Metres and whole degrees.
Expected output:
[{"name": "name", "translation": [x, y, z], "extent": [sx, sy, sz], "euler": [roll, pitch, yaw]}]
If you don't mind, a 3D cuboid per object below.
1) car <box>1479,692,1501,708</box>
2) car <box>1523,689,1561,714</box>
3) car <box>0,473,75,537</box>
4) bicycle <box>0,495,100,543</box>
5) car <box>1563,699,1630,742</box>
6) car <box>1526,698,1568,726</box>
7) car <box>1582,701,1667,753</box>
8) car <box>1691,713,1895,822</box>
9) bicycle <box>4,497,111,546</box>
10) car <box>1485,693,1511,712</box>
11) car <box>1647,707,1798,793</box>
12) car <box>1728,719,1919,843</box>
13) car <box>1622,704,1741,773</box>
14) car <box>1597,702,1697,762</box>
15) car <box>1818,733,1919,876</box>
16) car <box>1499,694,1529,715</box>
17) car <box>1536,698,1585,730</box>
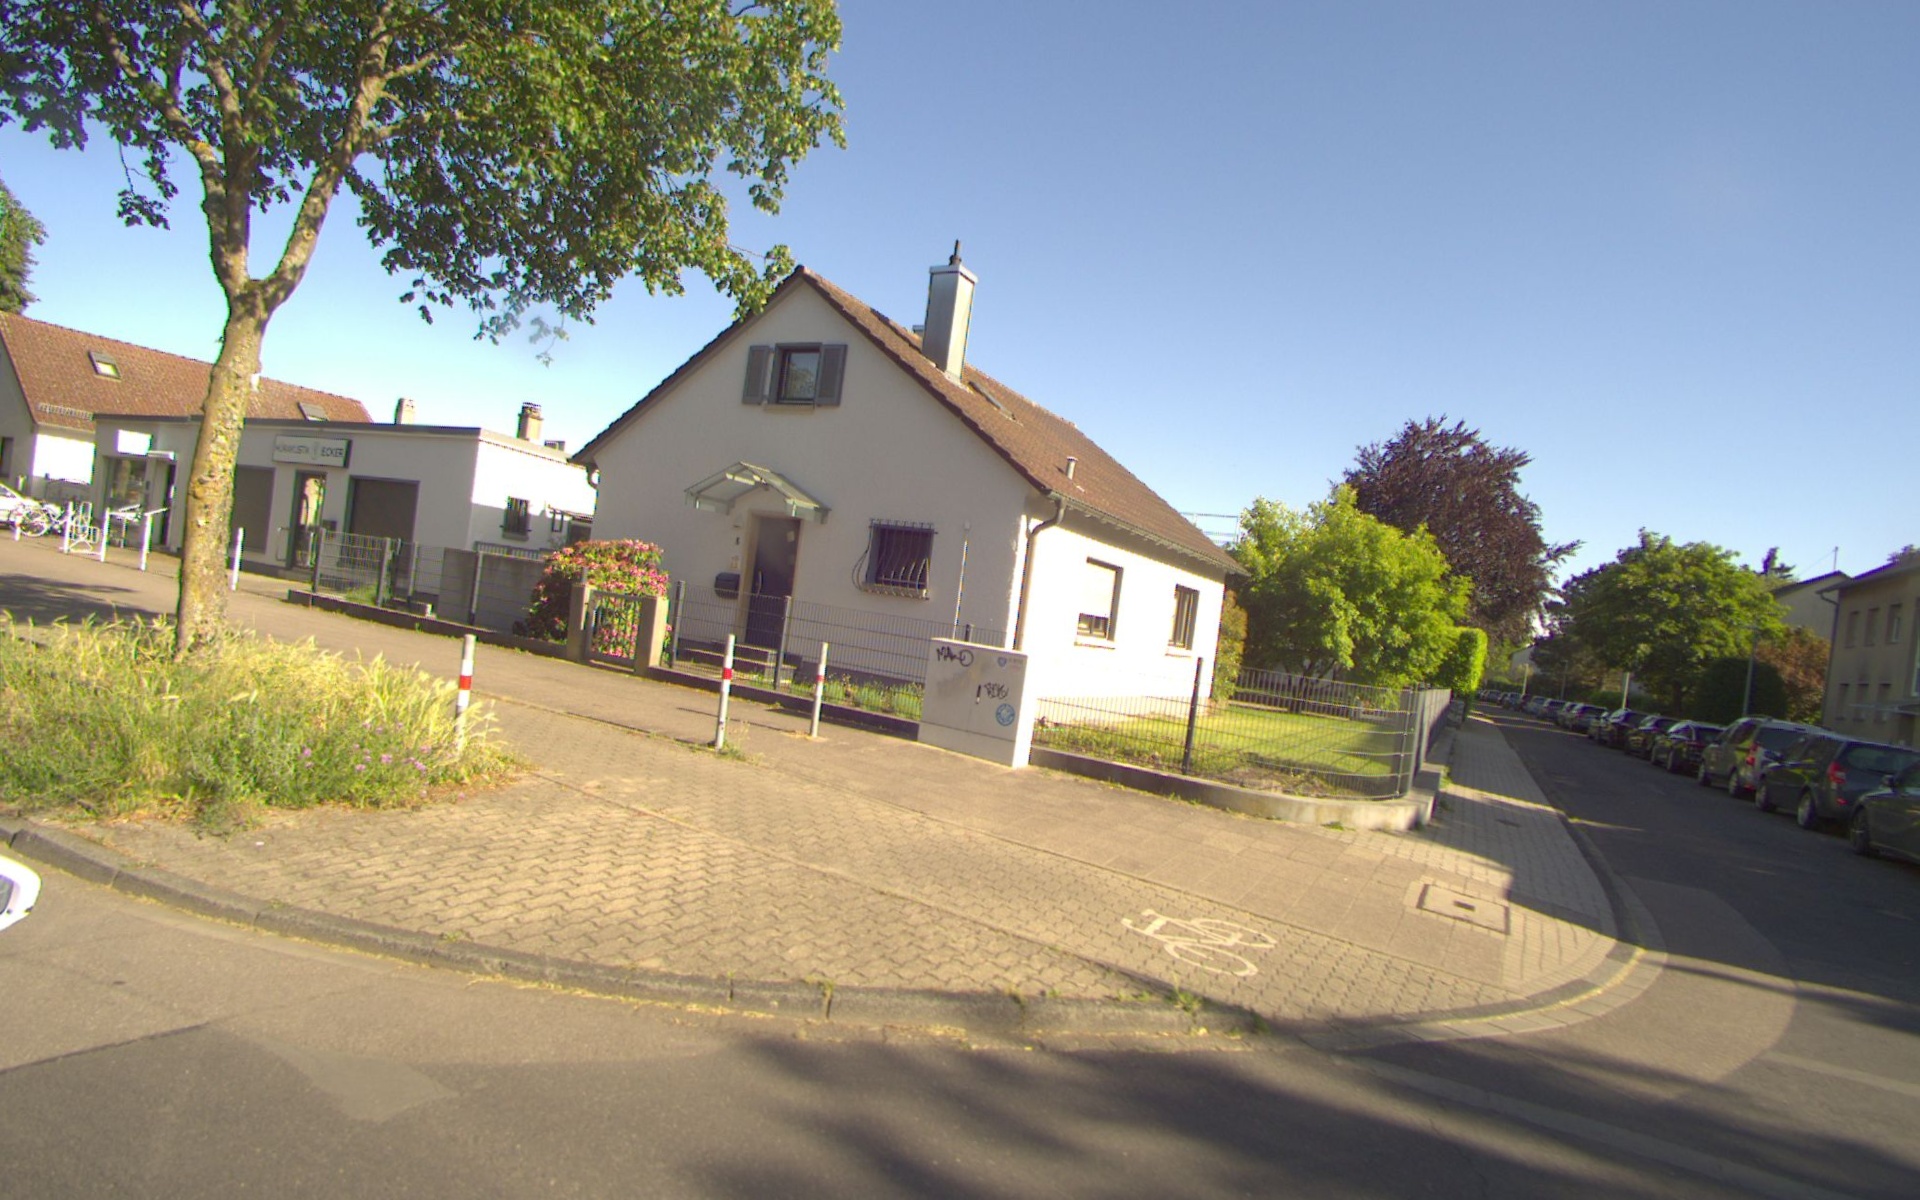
[{"name": "car", "translation": [71.337, 13.509, 135.467], "extent": [2.245, 1.666, 4.756], "euler": [9, -1, 27]}, {"name": "car", "translation": [49.112, 8.577, 85.013], "extent": [2.245, 1.666, 4.756], "euler": [9, -1, 27]}, {"name": "car", "translation": [-26.816, -2.745, 27.115], "extent": [1.869, 1.508, 3.992], "euler": [9, 2, 29]}, {"name": "bicycle", "translation": [-24.494, -2.168, 27.075], "extent": [0.566, 1.011, 1.926], "euler": [9, 2, 29]}, {"name": "car", "translation": [32.494, 6.144, 51.487], "extent": [2.245, 1.666, 4.756], "euler": [9, -1, 27]}, {"name": "car", "translation": [45.201, 8.637, 77.561], "extent": [2.245, 1.666, 4.756], "euler": [9, -1, 27]}, {"name": "car", "translation": [28.136, 5.375, 42.780], "extent": [2.245, 1.666, 4.756], "euler": [9, -1, 27]}, {"name": "car", "translation": [18.067, 3.548, 22.140], "extent": [2.245, 1.706, 4.756], "euler": [9, -1, 27]}, {"name": "bicycle", "translation": [-23.726, -2.047, 26.476], "extent": [0.566, 1.011, 1.961], "euler": [9, 2, 29]}, {"name": "car", "translation": [61.397, 11.697, 114.855], "extent": [2.245, 1.666, 4.756], "euler": [9, -1, 27]}, {"name": "car", "translation": [20.639, 4.010, 27.505], "extent": [2.245, 1.706, 4.756], "euler": [9, -1, 27]}, {"name": "car", "translation": [15.174, 3.021, 17.207], "extent": [2.245, 1.599, 4.756], "euler": [7, -2, 27]}, {"name": "car", "translation": [23.547, 4.483, 33.056], "extent": [2.245, 1.706, 4.756], "euler": [9, -1, 27]}, {"name": "car", "translation": [25.598, 4.894, 37.666], "extent": [2.245, 1.666, 4.756], "euler": [9, -1, 27]}, {"name": "car", "translation": [12.735, 2.675, 12.221], "extent": [2.245, 1.599, 4.756], "euler": [9, -1, 27]}, {"name": "car", "translation": [56.433, 10.637, 102.610], "extent": [2.245, 1.666, 4.756], "euler": [9, -1, 27]}, {"name": "car", "translation": [39.919, 7.591, 66.950], "extent": [2.245, 1.666, 4.756], "euler": [9, -1, 27]}]
